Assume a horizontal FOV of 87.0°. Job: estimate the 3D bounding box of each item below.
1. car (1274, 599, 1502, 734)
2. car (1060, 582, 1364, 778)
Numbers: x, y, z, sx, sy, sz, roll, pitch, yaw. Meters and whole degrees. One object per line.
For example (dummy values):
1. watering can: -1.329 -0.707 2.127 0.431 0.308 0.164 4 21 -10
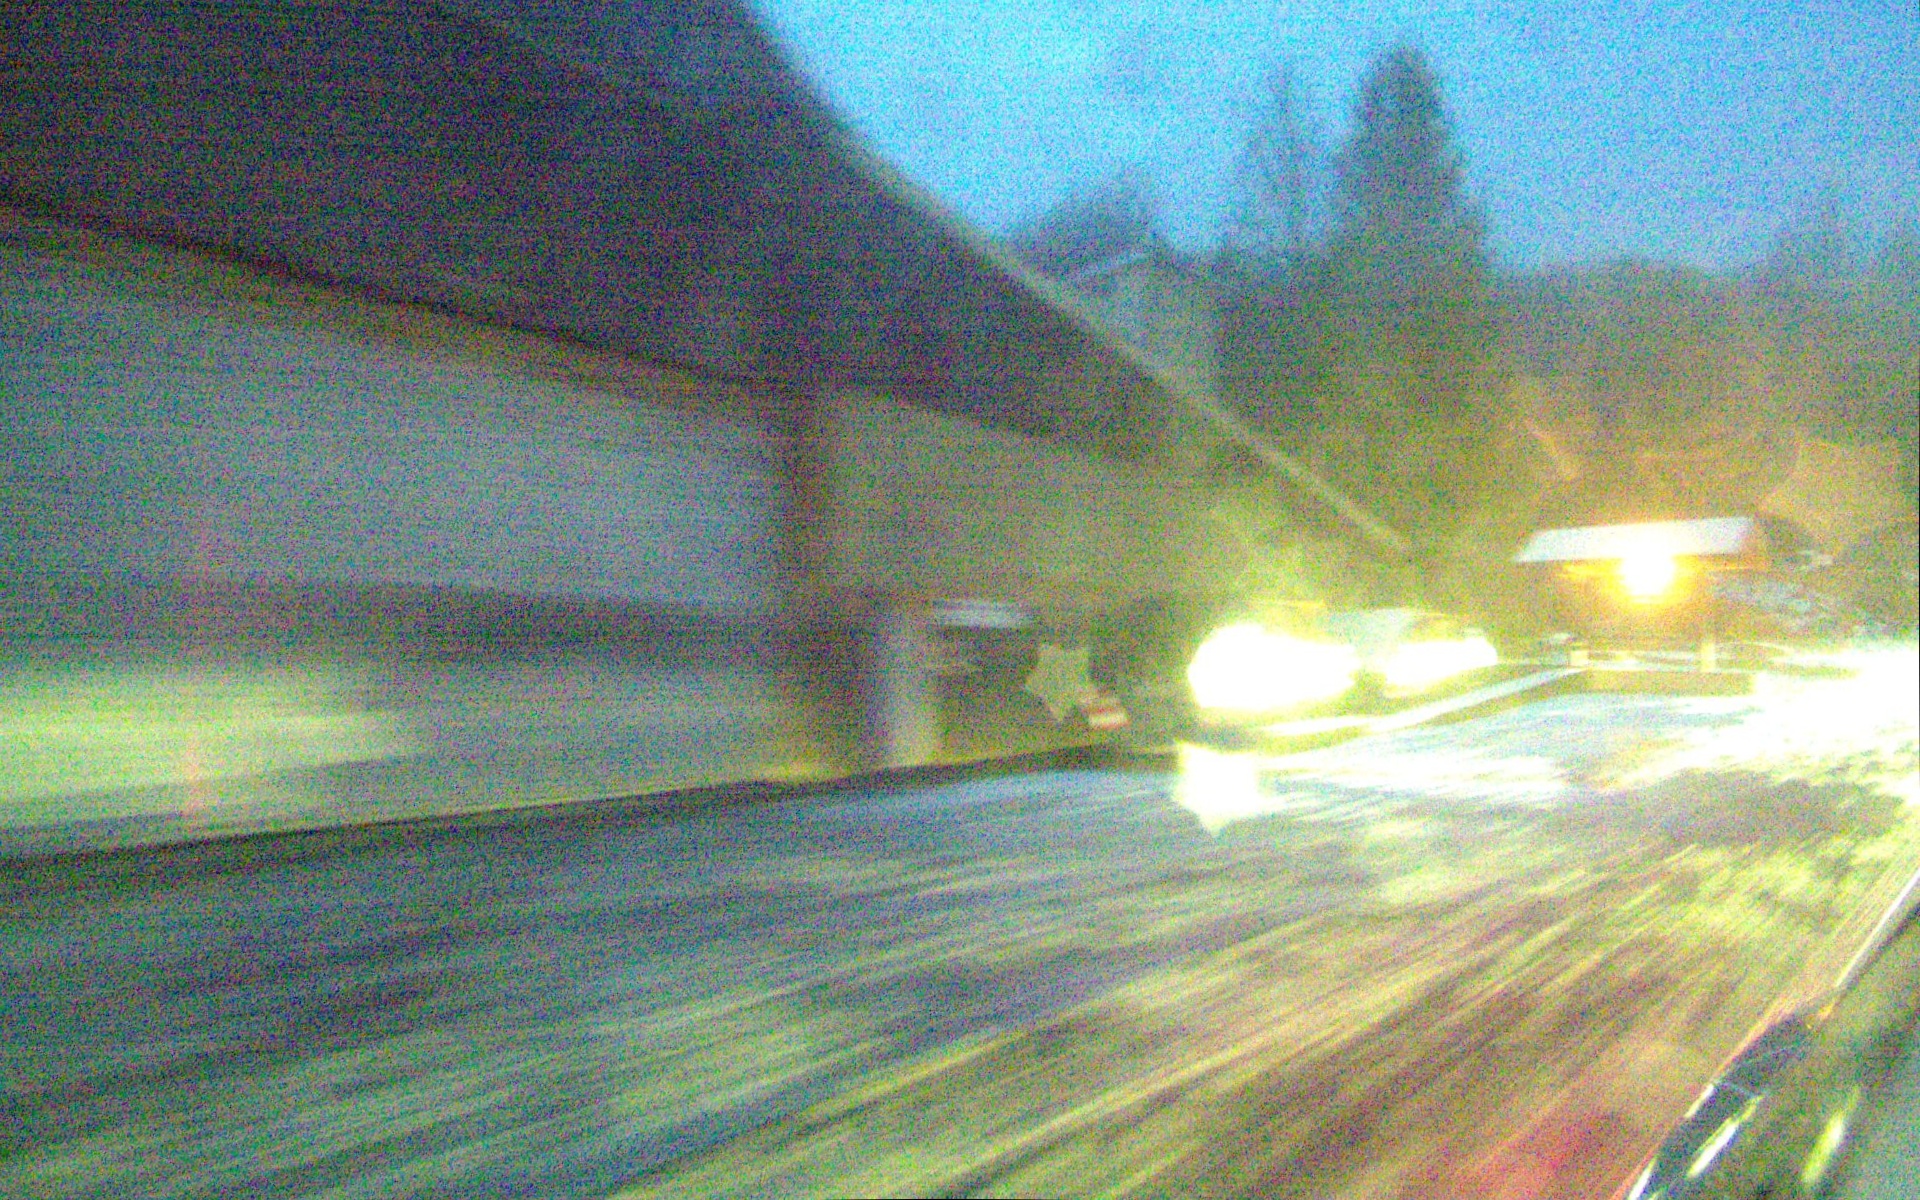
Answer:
1. car: 6.816 0.930 15.919 1.878 1.833 4.089 -3 -2 45
2. car: 3.346 0.862 12.892 1.877 2.066 4.323 -3 -2 43
